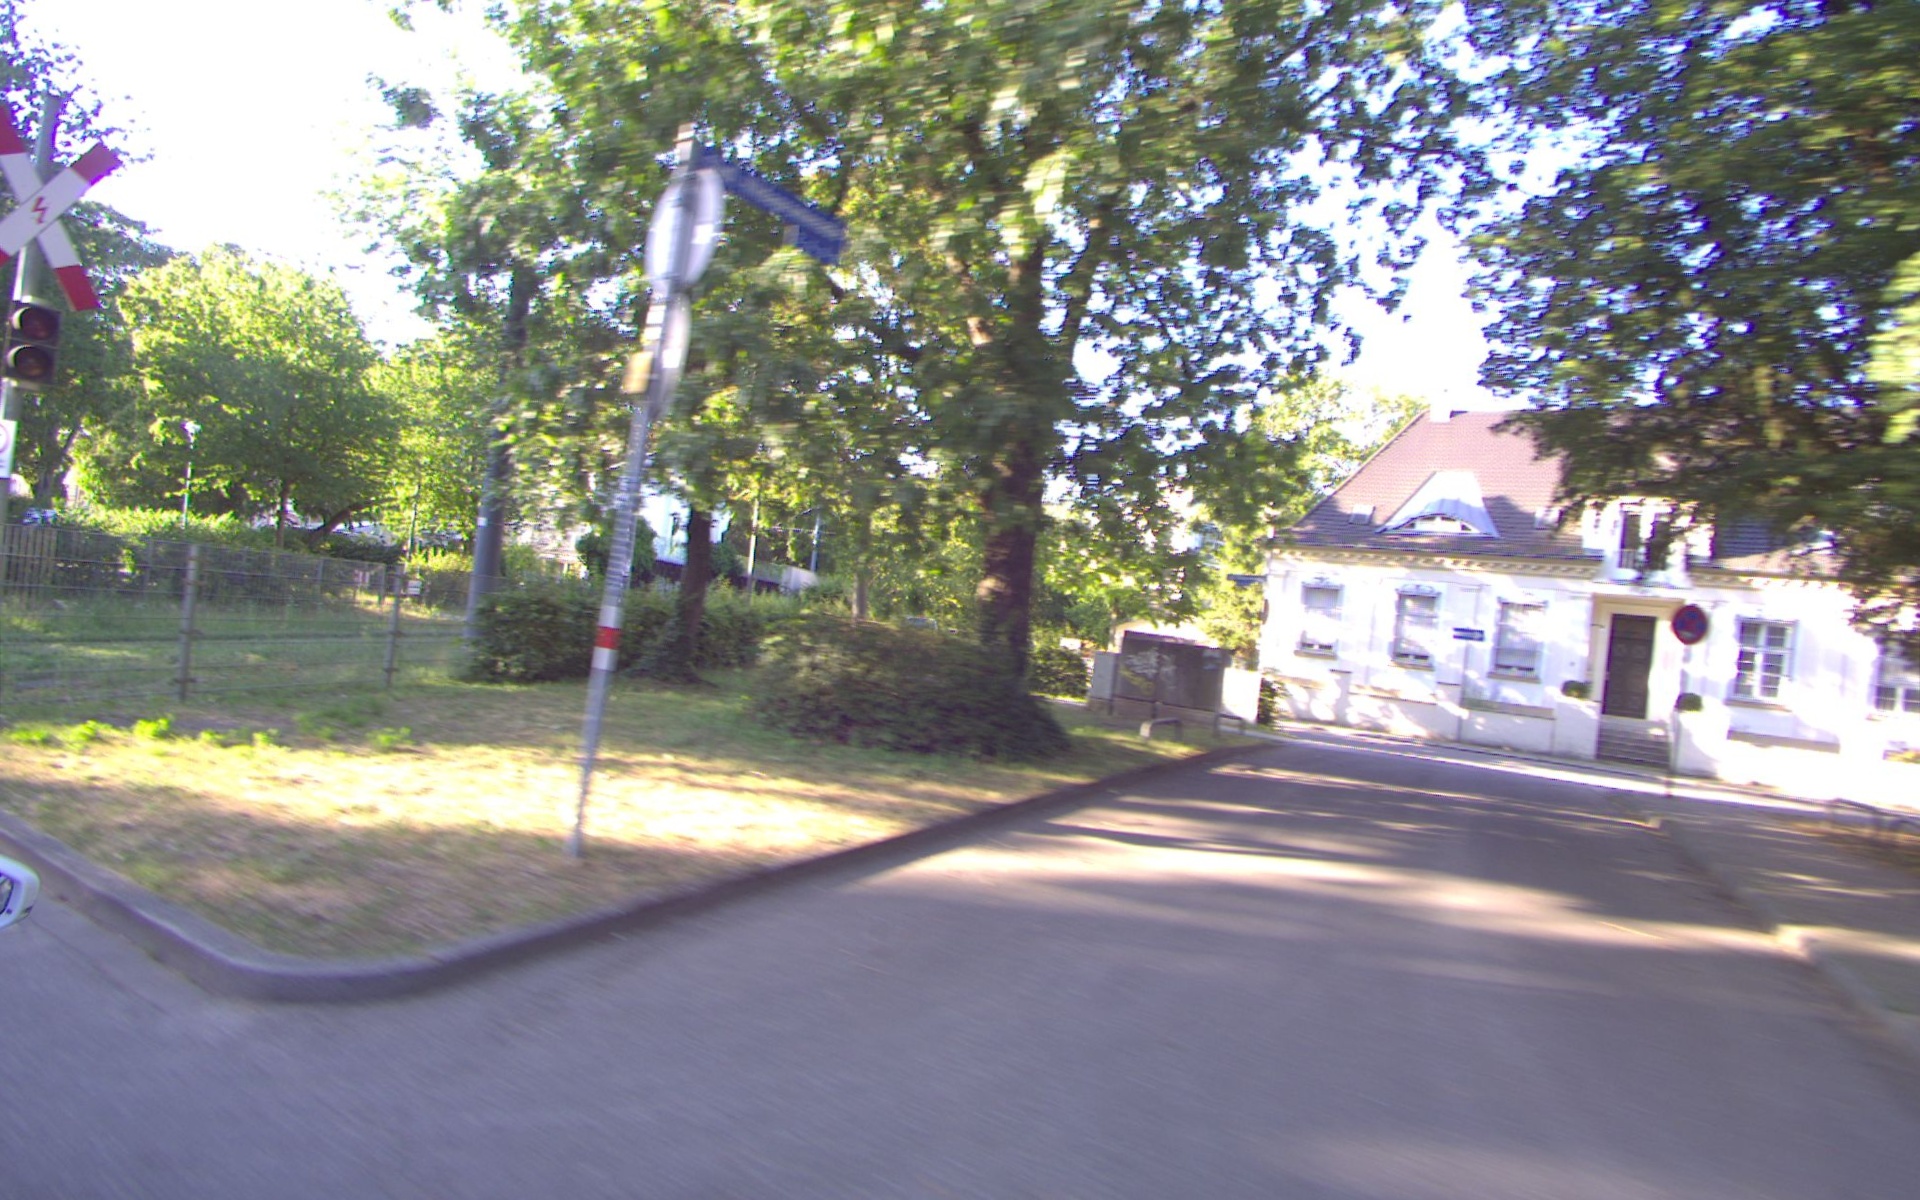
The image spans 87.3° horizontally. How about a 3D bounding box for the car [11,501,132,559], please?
[{"bbox_3d":[-40.841,-3.157,46.429,1.929,2.037,5.140,7,-2,-15],"label":"car"}]
